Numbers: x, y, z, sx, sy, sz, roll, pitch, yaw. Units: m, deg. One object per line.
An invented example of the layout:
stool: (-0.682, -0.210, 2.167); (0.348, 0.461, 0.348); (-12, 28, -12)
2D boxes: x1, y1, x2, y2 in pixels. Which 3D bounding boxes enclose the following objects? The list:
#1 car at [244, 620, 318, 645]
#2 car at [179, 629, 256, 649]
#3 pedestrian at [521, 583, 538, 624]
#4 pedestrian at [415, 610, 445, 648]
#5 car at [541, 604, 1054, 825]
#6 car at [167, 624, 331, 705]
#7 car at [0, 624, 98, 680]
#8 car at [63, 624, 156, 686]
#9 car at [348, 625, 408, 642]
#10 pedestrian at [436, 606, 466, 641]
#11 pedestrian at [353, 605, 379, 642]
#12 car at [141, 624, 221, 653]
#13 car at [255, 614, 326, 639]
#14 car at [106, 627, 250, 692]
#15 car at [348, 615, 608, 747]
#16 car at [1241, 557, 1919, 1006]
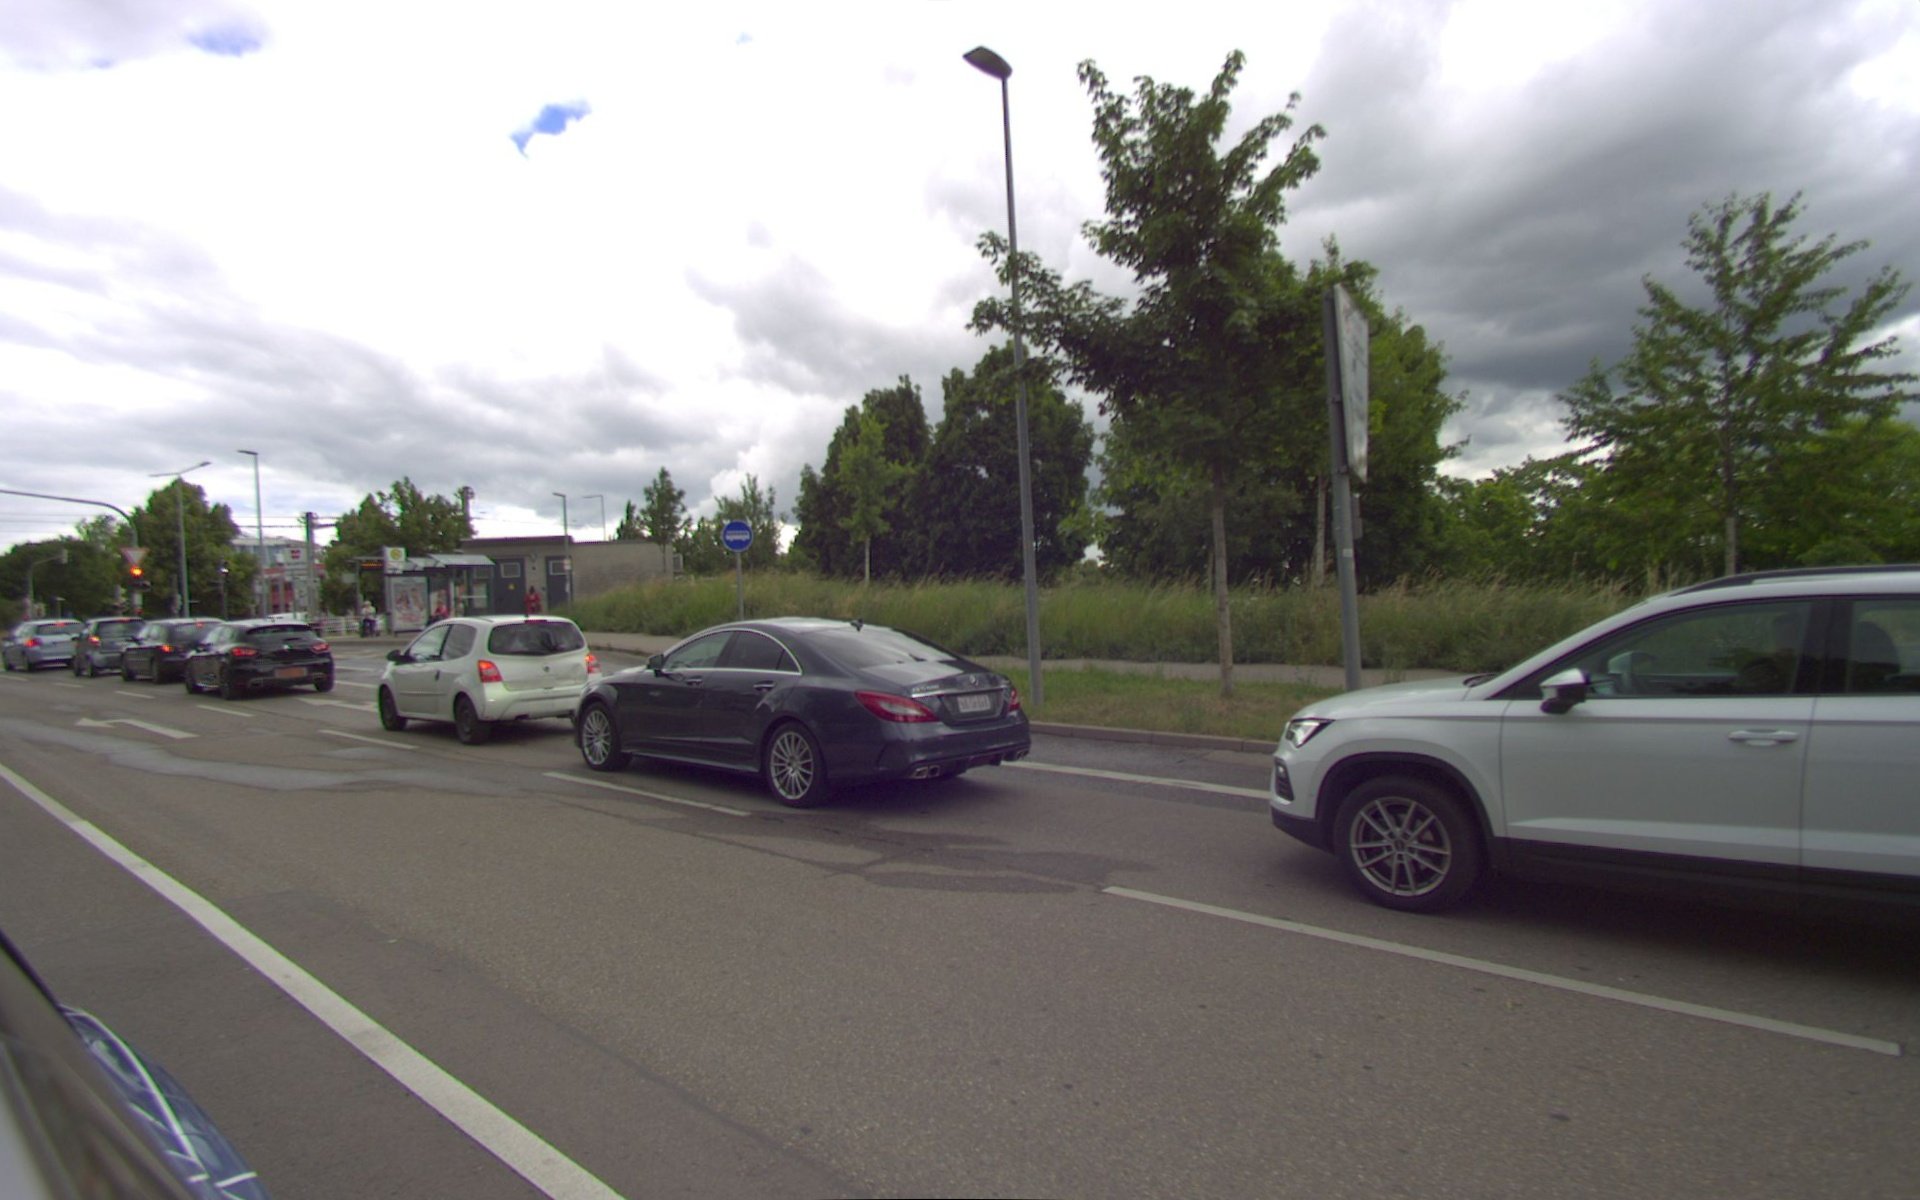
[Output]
car: (-54.334, 2.550, 81.112); (1.805, 1.806, 4.655); (-3, -1, 26)
car: (-53.904, 2.830, 73.570); (1.806, 1.351, 4.181); (-3, -3, 28)
pedestrian: (-18.096, 0.148, 42.571); (0.541, 1.682, 0.430); (-3, 0, -13)
pedestrian: (-19.524, 1.070, 37.286); (0.549, 1.340, 0.766); (-3, 0, 32)
car: (-1.664, 0.829, 8.805); (4.882, 1.401, 1.623); (-3, -1, 41)
car: (-13.788, 1.203, 19.549); (4.058, 1.342, 1.623); (-3, -1, 41)
car: (-28.535, 1.602, 31.430); (4.212, 1.547, 1.810); (-3, 0, 37)
car: (-23.250, 1.488, 27.656); (2.771, 1.538, 1.414); (-3, -1, 39)
car: (-50.252, 2.919, 87.506); (1.808, 1.351, 4.177); (-3, -3, 31)
pedestrian: (-18.390, 0.852, 36.588); (0.549, 1.236, 0.766); (-3, 0, 32)
pedestrian: (-22.933, 0.914, 39.085); (0.772, 1.374, 0.544); (-3, 0, 33)
car: (-56.389, 2.762, 73.314); (1.809, 1.793, 4.177); (-3, 0, 32)
car: (-55.844, 2.234, 84.501); (2.173, 1.920, 4.414); (-3, -3, 26)
car: (-18.755, 1.398, 24.196); (4.376, 1.342, 1.781); (-3, 0, 39)
car: (-6.296, 0.968, 13.056); (3.760, 1.401, 1.623); (-3, -1, 41)
car: (3.634, 0.643, 4.534); (4.220, 1.597, 1.713); (-3, -1, 41)
